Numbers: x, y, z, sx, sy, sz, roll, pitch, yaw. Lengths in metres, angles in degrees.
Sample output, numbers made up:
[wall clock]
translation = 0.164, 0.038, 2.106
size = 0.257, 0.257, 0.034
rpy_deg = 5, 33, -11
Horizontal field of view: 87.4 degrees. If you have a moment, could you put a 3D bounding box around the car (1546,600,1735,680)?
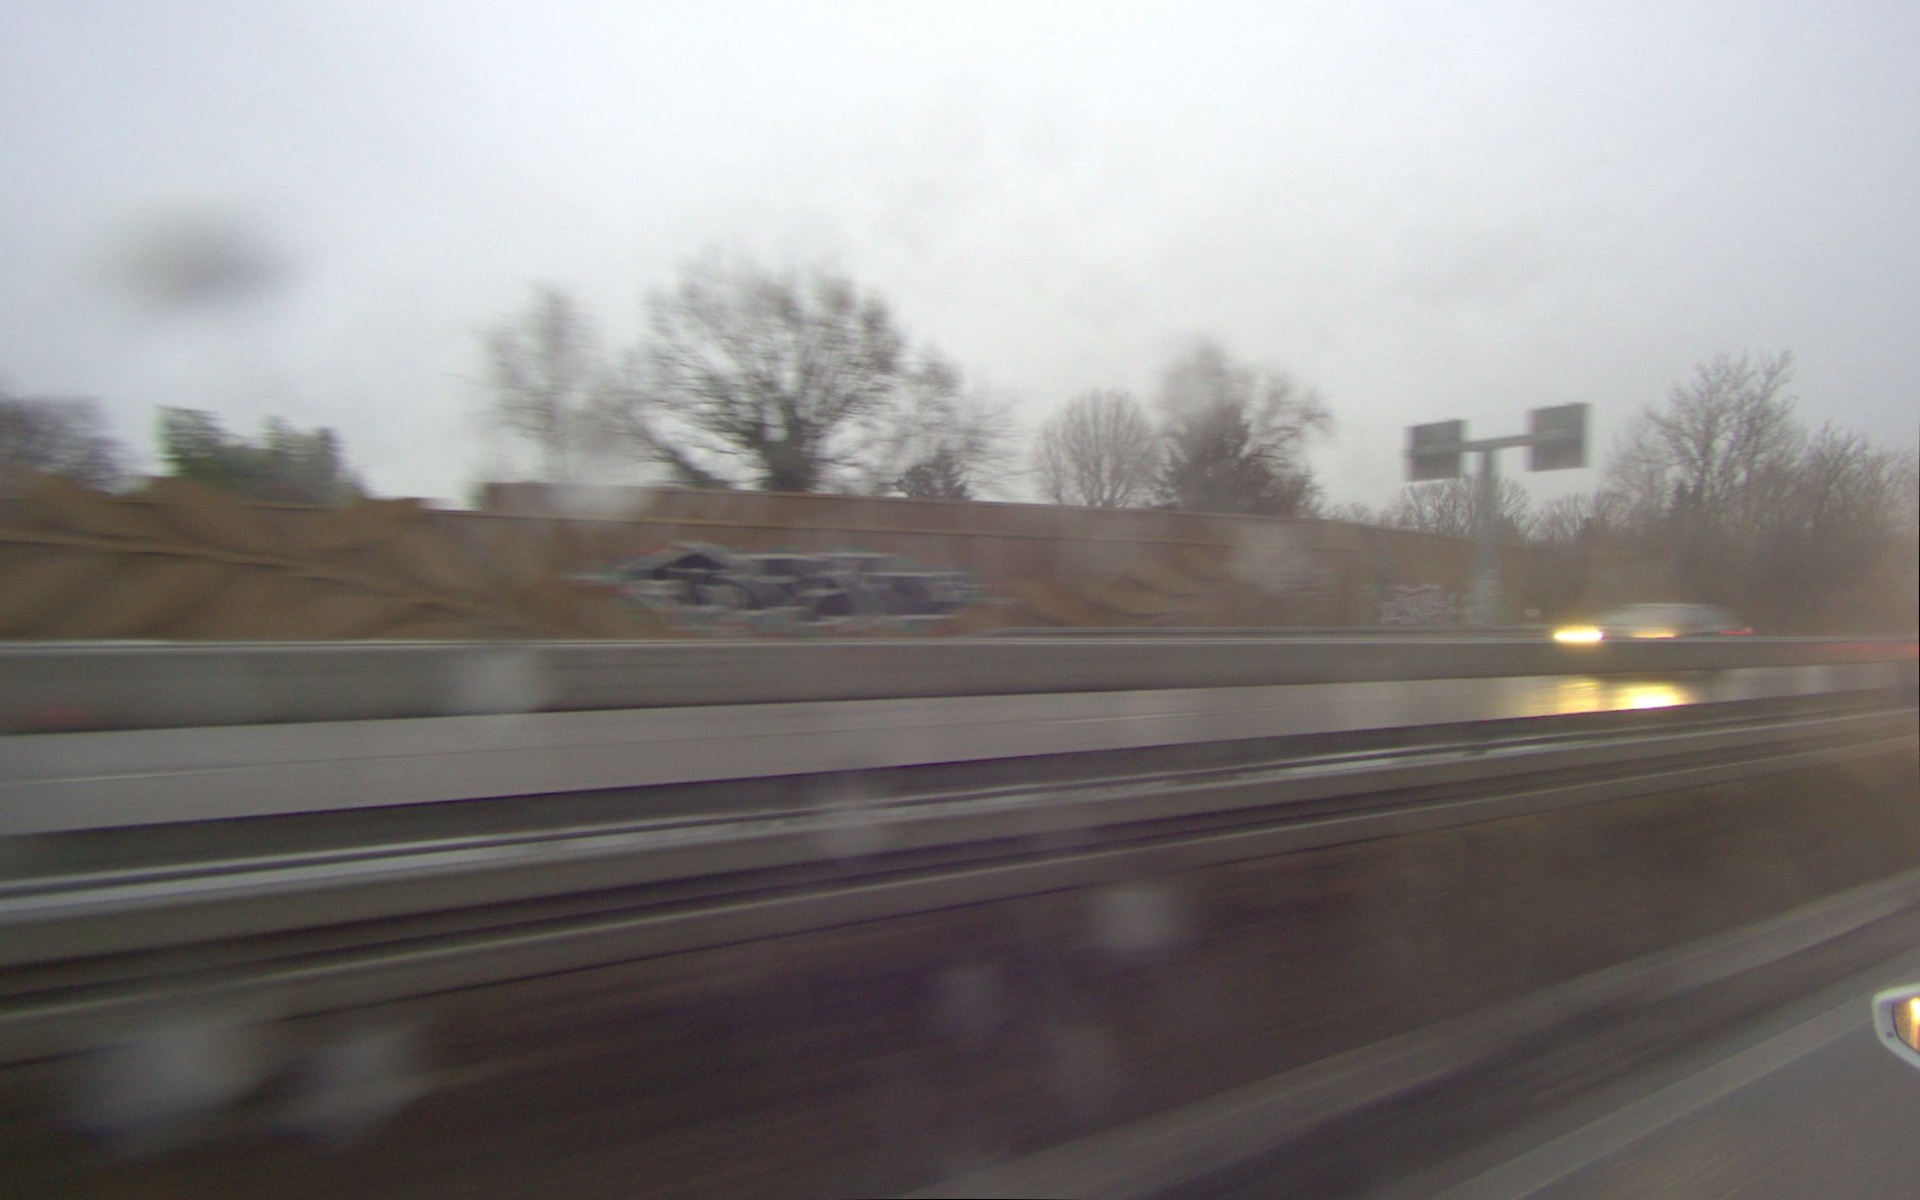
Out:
[car]
translation = 14.942, 0.830, 22.007
size = 4.306, 1.576, 1.827
rpy_deg = 1, 0, -32
